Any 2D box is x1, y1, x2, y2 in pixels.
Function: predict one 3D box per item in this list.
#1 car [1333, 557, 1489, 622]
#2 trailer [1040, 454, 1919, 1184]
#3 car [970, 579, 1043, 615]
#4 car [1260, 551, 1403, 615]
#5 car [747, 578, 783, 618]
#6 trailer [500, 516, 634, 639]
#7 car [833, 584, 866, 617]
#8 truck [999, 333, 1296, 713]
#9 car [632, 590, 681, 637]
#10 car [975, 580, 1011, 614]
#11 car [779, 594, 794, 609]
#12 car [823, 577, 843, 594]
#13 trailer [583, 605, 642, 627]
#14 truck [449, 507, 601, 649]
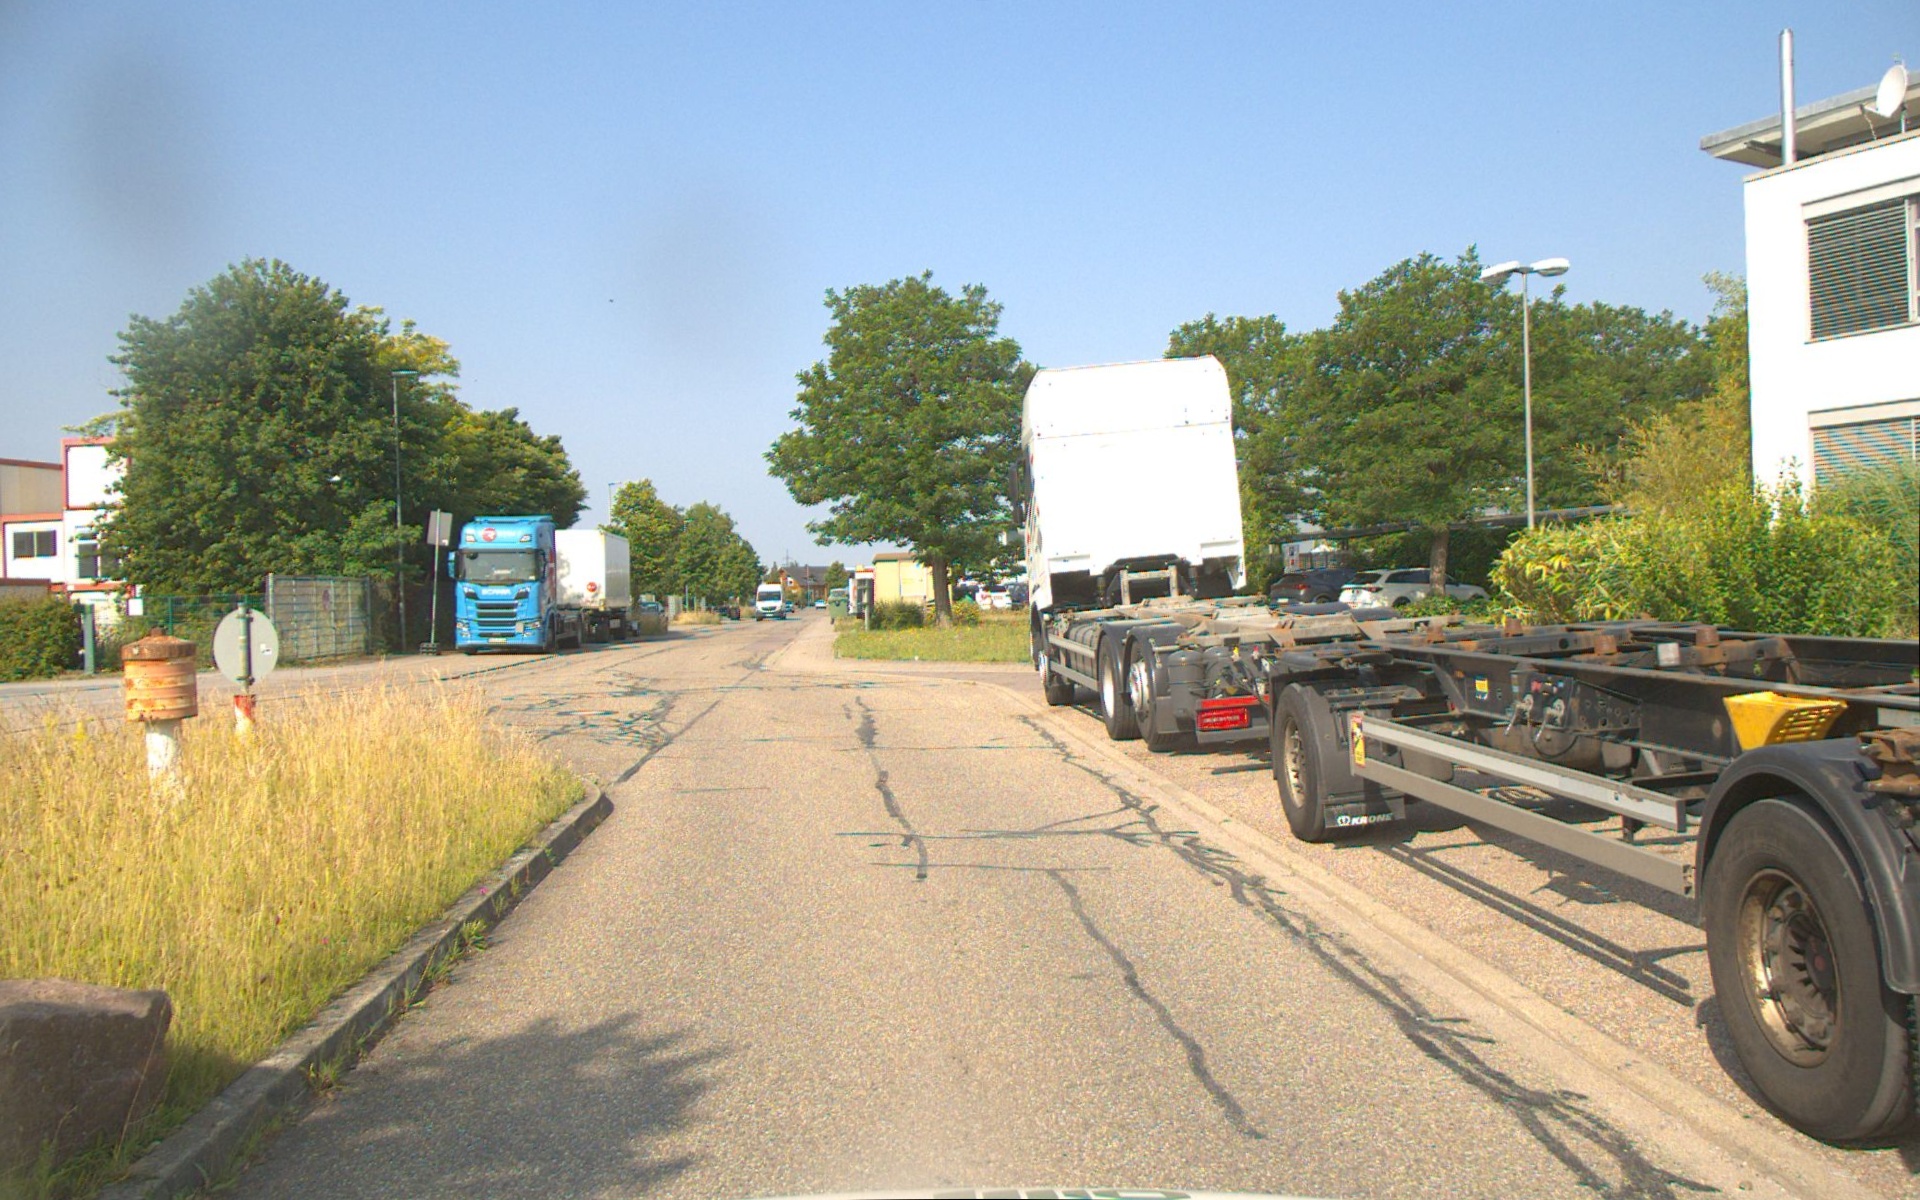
[{"bbox_3d":[12.441,-0.267,45.616,4.023,1.731,1.751,0,-1,-26],"label":"car"},{"bbox_3d":[2.879,0.350,11.523,2.692,1.601,16.159,-4,1,-4],"label":"trailer"},{"bbox_3d":[1.813,-0.113,65.438,1.644,1.353,3.641,0,-1,-20],"label":"car"},{"bbox_3d":[10.918,-0.468,48.511,3.954,1.798,1.975,0,-1,-36],"label":"car"},{"bbox_3d":[-14.142,-0.102,119.730,2.174,2.733,6.835,0,-1,-10],"label":"car"},{"bbox_3d":[-13.695,-0.632,58.695,2.775,3.910,12.024,0,-1,-4],"label":"trailer"},{"bbox_3d":[-6.185,0.061,92.278,1.757,1.780,3.996,0,-1,-5],"label":"car"},{"bbox_3d":[2.159,-0.881,20.547,2.693,4.050,3.997,-5,0,-4],"label":"truck"},{"bbox_3d":[-14.038,0.592,76.343,1.960,2.049,3.986,-2,0,-14],"label":"car"},{"bbox_3d":[1.650,-0.117,83.487,1.682,1.646,3.999,0,-1,-1],"label":"car"},{"bbox_3d":[-21.235,0.176,202.059,1.610,1.691,3.990,0,-1,-10],"label":"car"},{"bbox_3d":[-14.869,-1.706,193.051,1.741,1.847,3.985,0,-1,-14],"label":"car"},{"bbox_3d":[-14.237,0.631,67.928,1.860,0.774,3.996,-2,0,-5],"label":"trailer"},{"bbox_3d":[-13.040,-0.553,50.424,2.770,3.893,9.663,0,-1,-4],"label":"truck"}]
